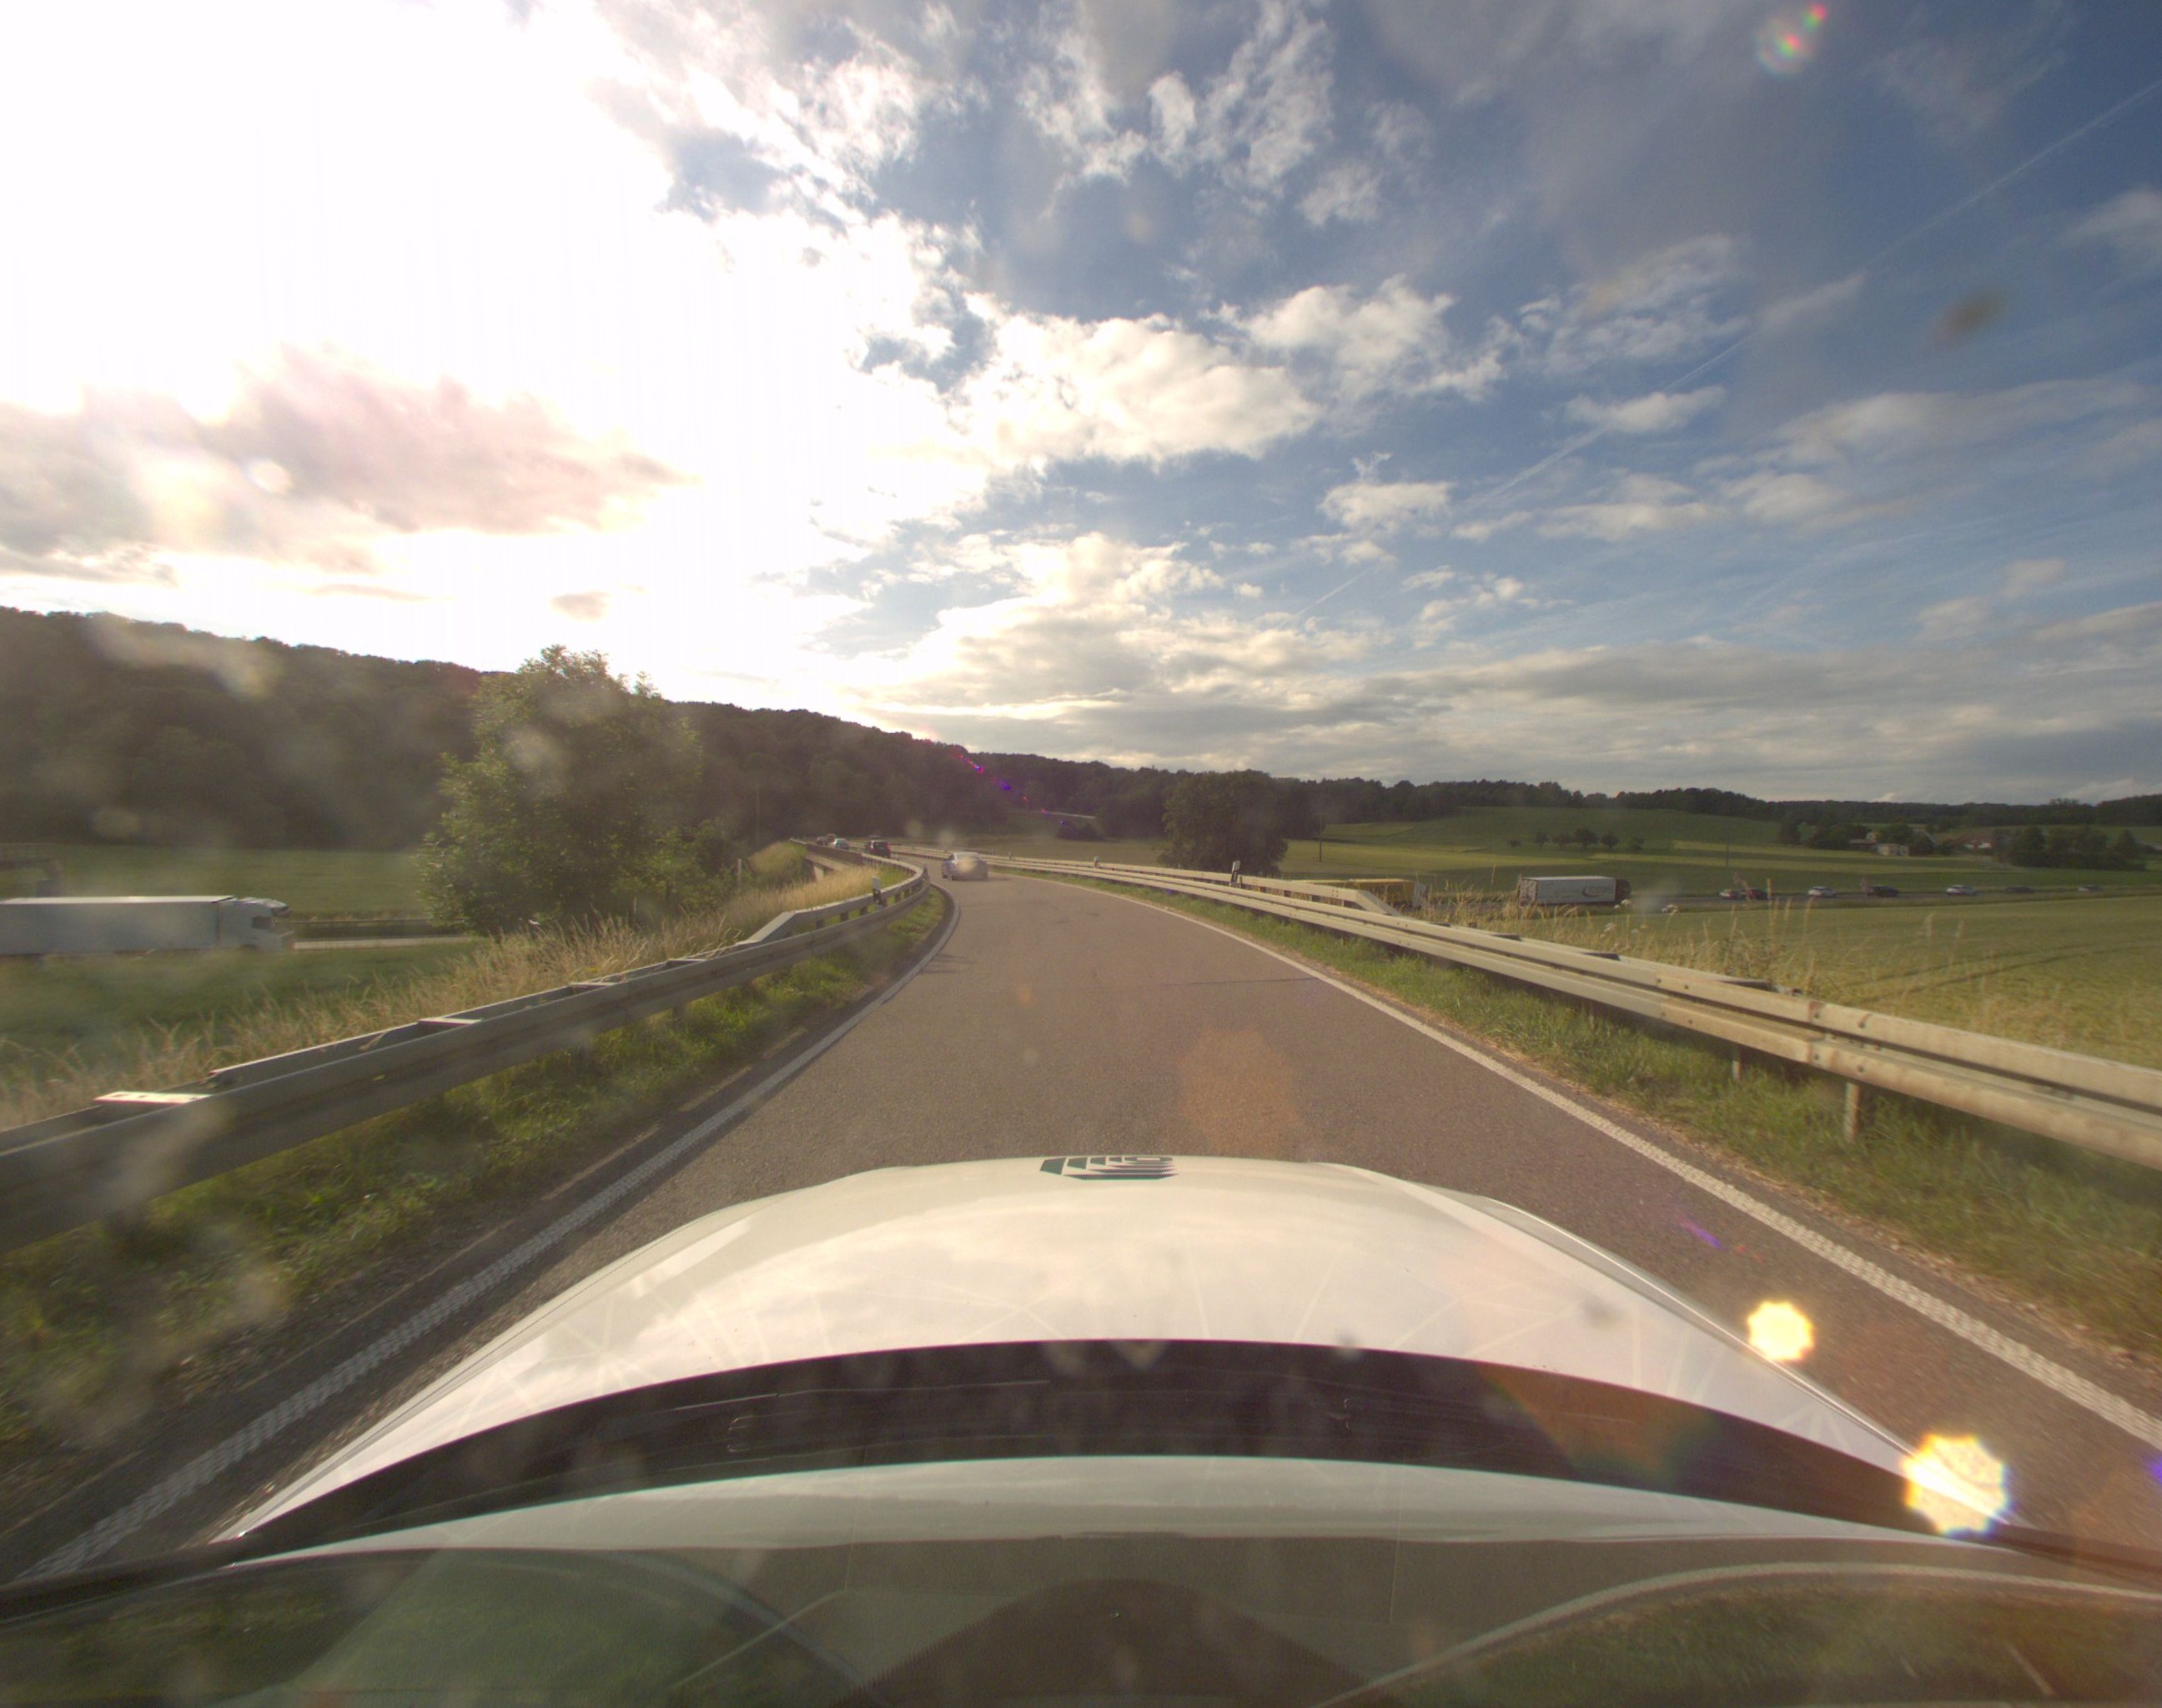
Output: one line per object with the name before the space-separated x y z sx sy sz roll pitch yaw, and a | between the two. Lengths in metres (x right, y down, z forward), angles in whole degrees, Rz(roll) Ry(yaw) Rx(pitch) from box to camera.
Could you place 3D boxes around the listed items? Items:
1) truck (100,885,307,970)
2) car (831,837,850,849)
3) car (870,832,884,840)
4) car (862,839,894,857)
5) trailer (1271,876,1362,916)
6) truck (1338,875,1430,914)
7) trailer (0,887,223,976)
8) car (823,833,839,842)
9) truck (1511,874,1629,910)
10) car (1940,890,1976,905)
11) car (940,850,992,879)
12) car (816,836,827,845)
truck | -54.471 4.409 50.920 8.074 4.466 3.004 -1 4 -27
car | -29.304 -1.365 99.290 1.690 1.376 3.968 0 1 -25
car | -49.944 -4.441 199.567 1.982 1.771 4.009 -2 1 7
car | -18.367 -0.524 73.642 1.872 1.568 3.964 0 1 -28
trailer | 25.360 4.437 87.744 9.137 4.060 3.808 0 -1 -23
truck | 33.993 4.454 91.415 9.810 4.060 3.808 0 -1 -23
trailer | -60.123 4.513 47.983 12.755 4.466 3.007 -1 4 -27
car | -50.659 -3.379 164.901 1.989 1.679 4.174 2 0 -2
truck | 60.217 4.563 100.262 14.419 3.997 4.053 -1 -2 -19
car | 125.808 6.249 116.806 3.997 2.014 1.988 -1 -2 -18
car | -5.904 0.487 41.501 1.824 1.339 4.322 -2 1 -19
car | -38.740 -2.019 121.723 1.474 1.227 3.283 0 1 -15
